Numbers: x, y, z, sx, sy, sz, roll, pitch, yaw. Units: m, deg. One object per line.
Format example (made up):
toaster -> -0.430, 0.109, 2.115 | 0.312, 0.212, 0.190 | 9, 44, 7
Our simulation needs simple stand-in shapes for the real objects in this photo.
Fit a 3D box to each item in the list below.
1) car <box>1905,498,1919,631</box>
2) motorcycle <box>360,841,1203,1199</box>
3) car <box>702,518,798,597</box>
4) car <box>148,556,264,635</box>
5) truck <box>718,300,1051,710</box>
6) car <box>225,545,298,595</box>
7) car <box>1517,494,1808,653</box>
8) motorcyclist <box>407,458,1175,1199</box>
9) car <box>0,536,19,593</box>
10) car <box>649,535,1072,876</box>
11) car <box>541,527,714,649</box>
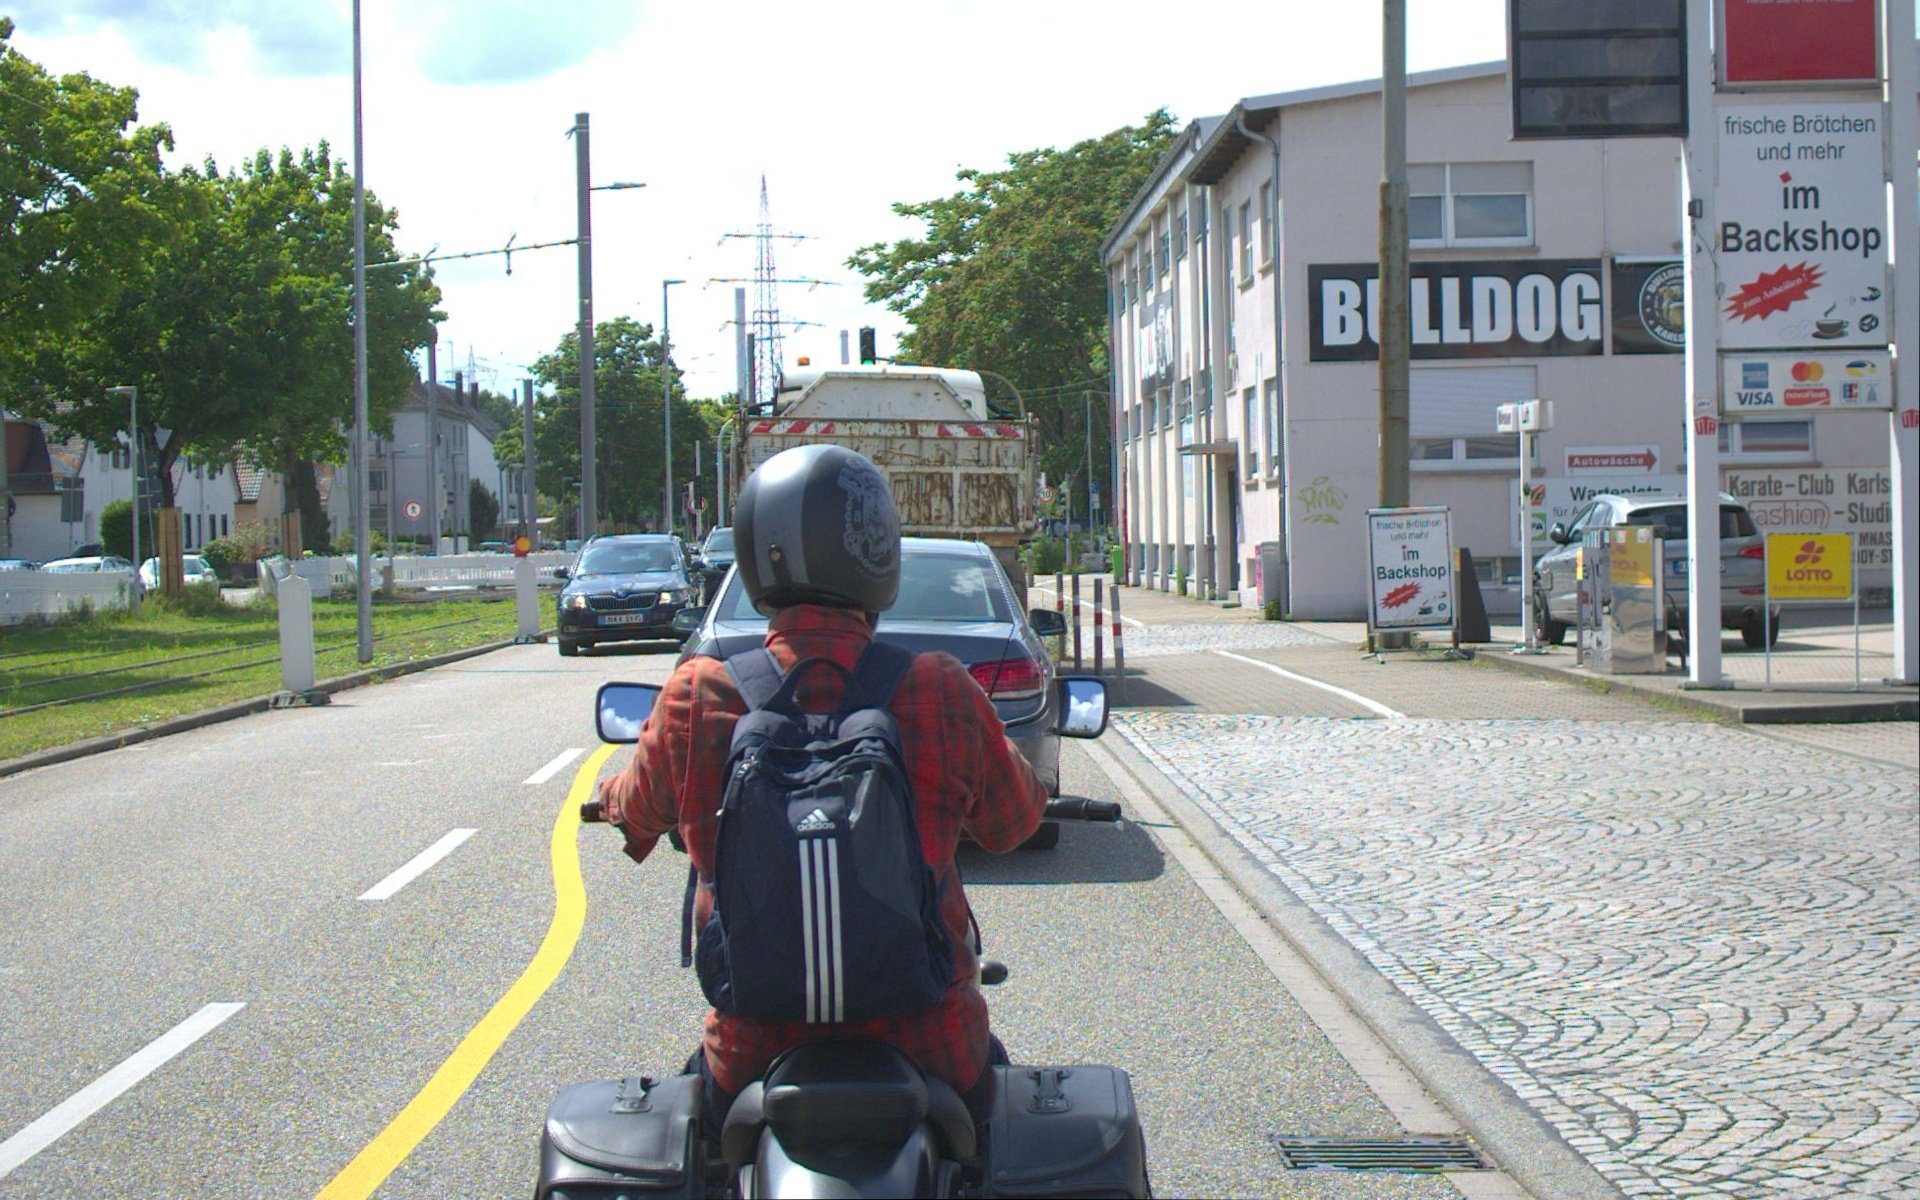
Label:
car -> 11.732, -0.384, 37.090 | 1.806, 1.498, 3.834 | -1, 1, -3
motorcycle -> -0.214, 0.953, 5.339 | 0.979, 0.894, 2.653 | -1, 1, -1
car -> -4.523, -0.935, 74.515 | 1.823, 1.596, 4.324 | -2, 1, -1
car -> -17.499, -0.135, 79.960 | 1.776, 1.717, 4.128 | -1, 1, 0
truck -> -0.660, -0.865, 32.013 | 2.638, 3.285, 8.057 | -1, 1, -1
car -> -25.420, -1.105, 125.242 | 1.776, 1.717, 4.128 | -1, 1, 0
car -> 7.377, -0.309, 36.521 | 1.667, 1.557, 4.245 | -1, 1, -8
motorcyclist -> -0.218, 0.611, 5.027 | 0.979, 1.597, 1.088 | -1, 1, -1
car -> -30.046, -1.067, 104.406 | 1.776, 1.717, 4.128 | -1, 1, 0
car -> -0.458, 0.423, 16.978 | 1.823, 1.447, 4.000 | 1, 1, -1
car -> -4.272, -0.195, 44.700 | 1.823, 1.447, 4.324 | -2, 1, -1
